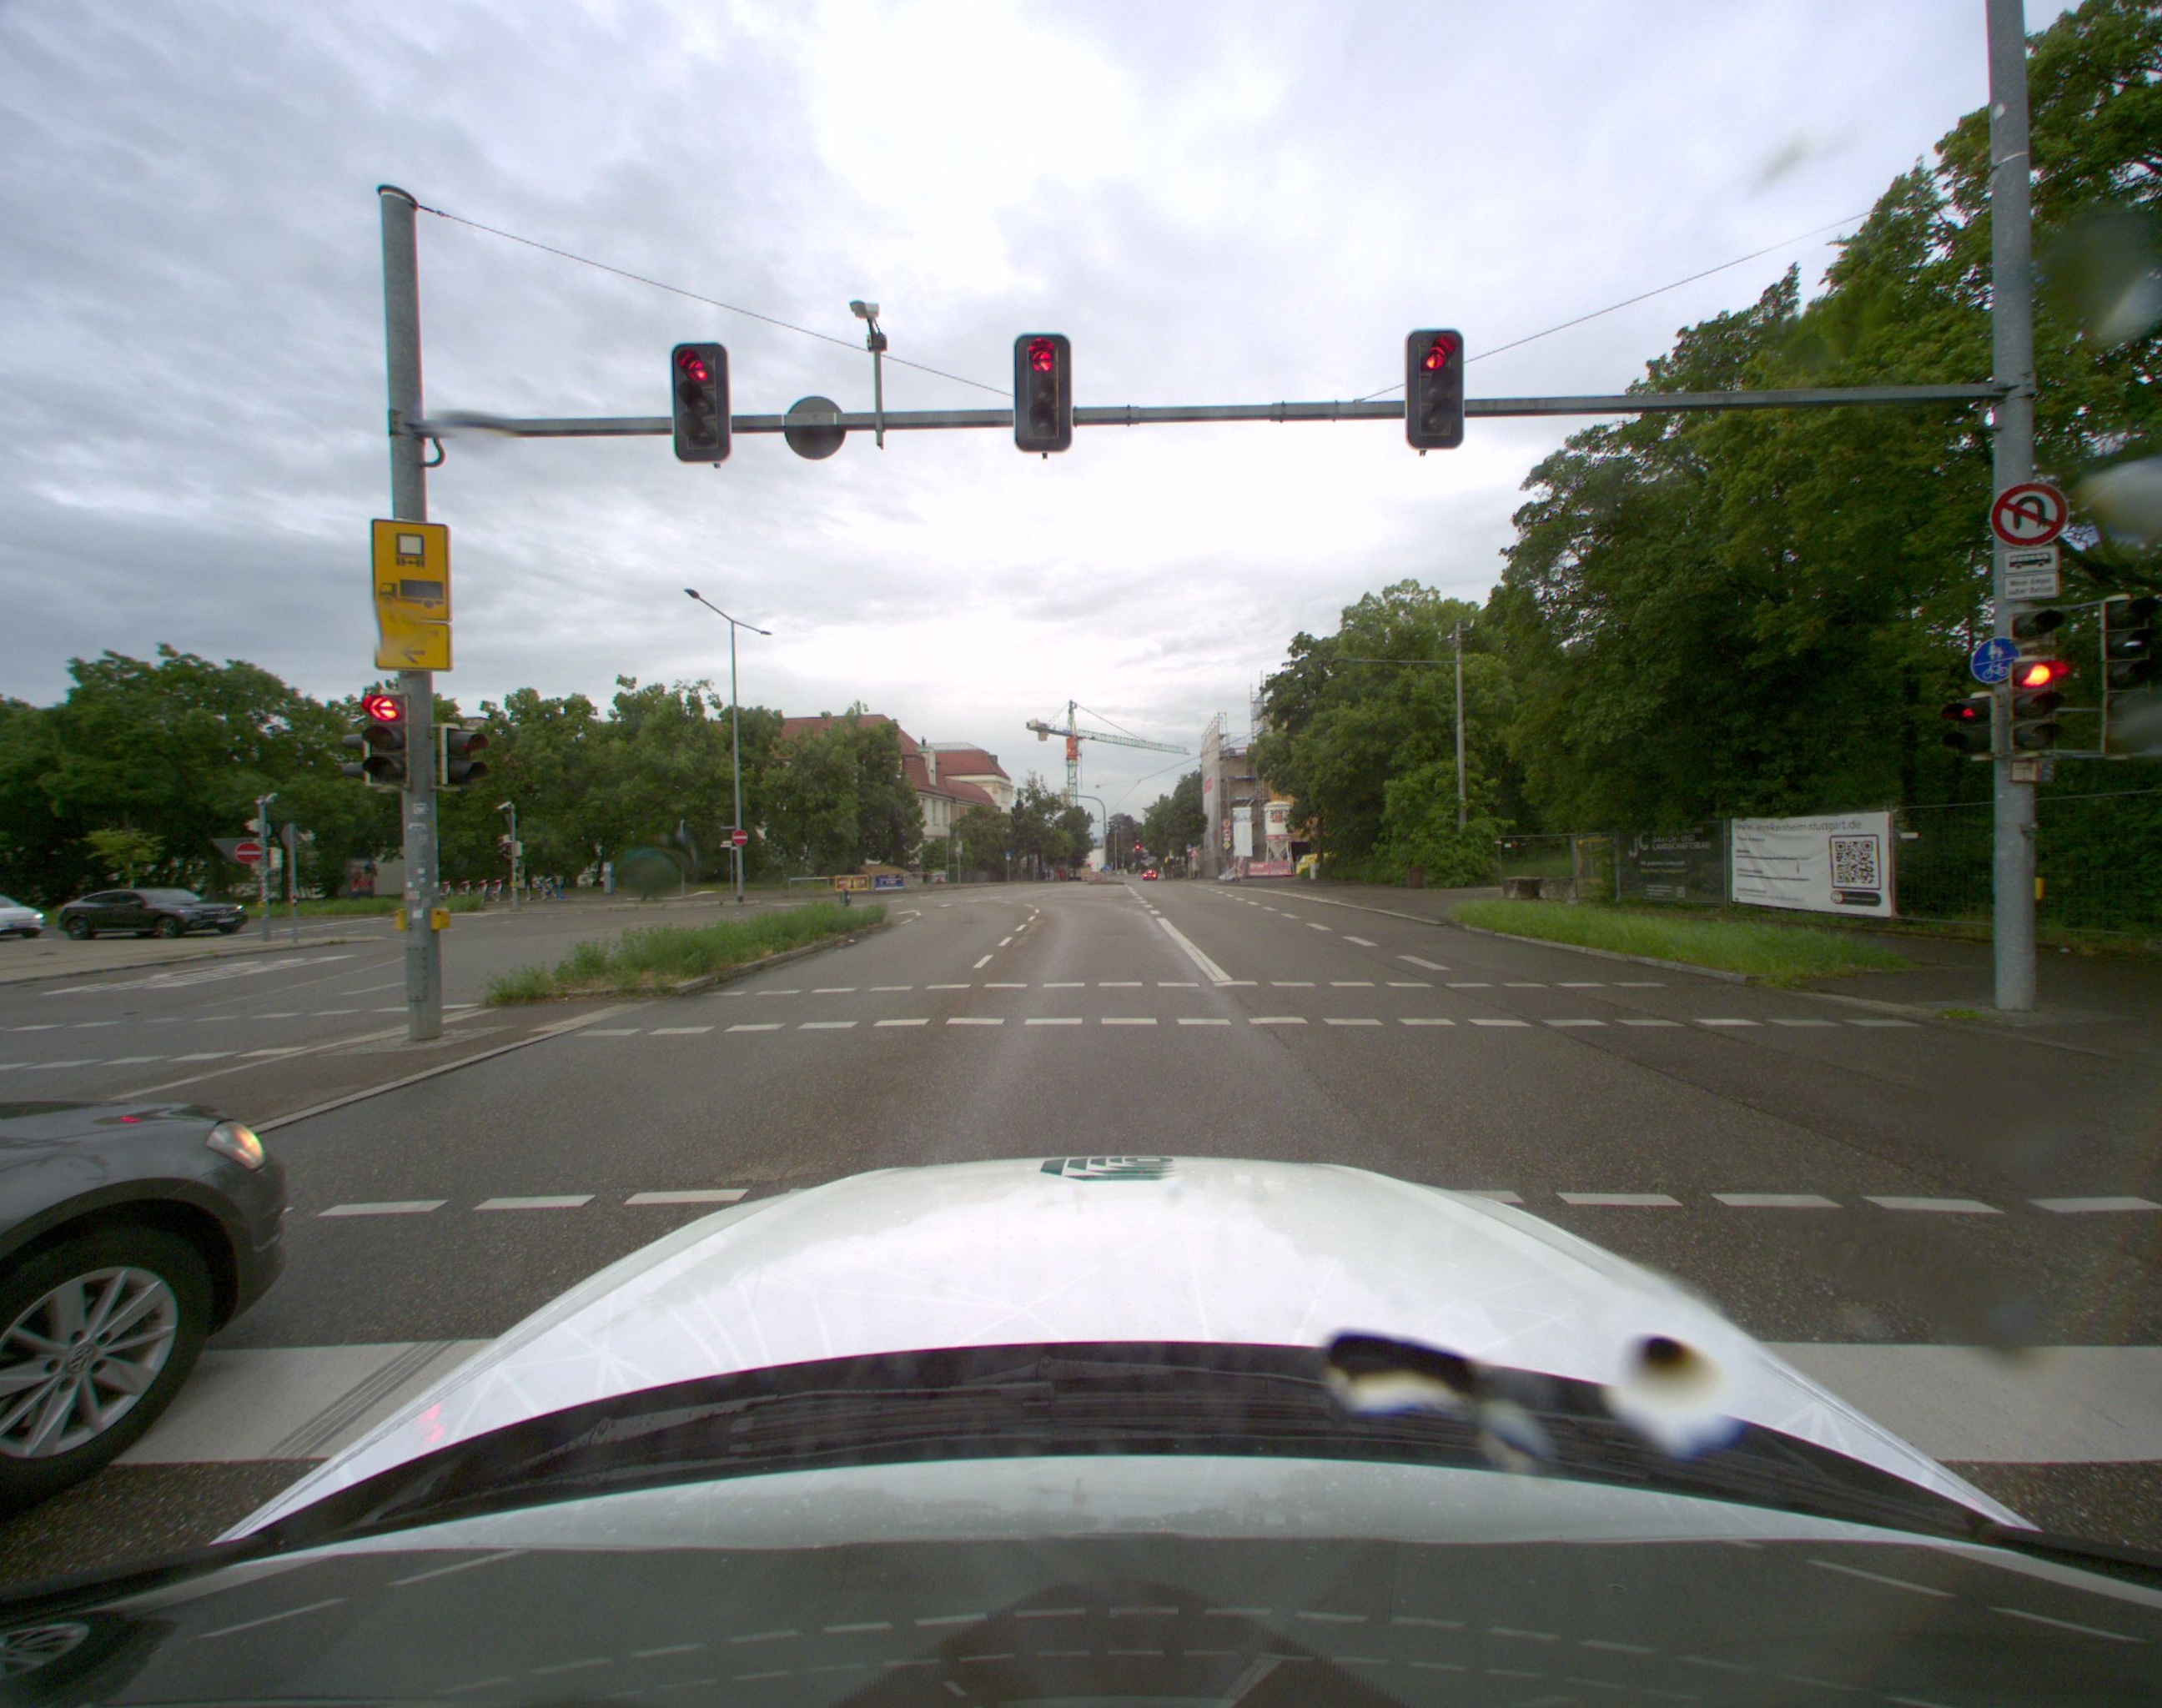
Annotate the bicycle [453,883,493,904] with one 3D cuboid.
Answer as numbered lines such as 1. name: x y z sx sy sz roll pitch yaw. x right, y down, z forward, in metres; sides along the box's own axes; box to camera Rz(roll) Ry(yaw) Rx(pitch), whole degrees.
1. bicycle: -33.018 2.117 44.269 0.649 1.071 1.982 0 -1 2

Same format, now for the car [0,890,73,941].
1. car: -36.495 2.036 27.044 3.539 1.594 2.001 0 -1 1

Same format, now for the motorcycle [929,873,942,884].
1. motorcycle: -11.569 1.931 64.979 0.846 0.877 0.877 0 -1 1

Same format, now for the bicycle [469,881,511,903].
1. bicycle: -32.269 2.065 44.501 0.798 1.071 1.982 0 -1 2

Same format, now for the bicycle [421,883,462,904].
1. bicycle: -34.987 2.141 44.575 0.649 1.071 1.982 0 -1 2

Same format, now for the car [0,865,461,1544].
1. car: -3.329 0.800 0.896 1.809 1.481 4.378 -2 0 2

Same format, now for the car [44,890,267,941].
1. car: -30.074 1.984 26.580 5.006 1.500 2.001 0 -1 1

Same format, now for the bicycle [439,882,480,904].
1. bicycle: -33.908 2.113 44.444 0.649 1.071 1.982 0 -1 2

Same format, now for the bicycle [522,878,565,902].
1. bicycle: -29.436 1.945 44.609 0.987 1.249 1.982 0 -1 2

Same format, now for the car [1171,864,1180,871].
1. car: 25.452 3.494 218.947 1.980 1.750 4.014 -2 0 13

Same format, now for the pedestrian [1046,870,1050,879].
1. pedestrian: -4.846 3.003 118.937 0.473 1.396 0.411 -2 -1 1

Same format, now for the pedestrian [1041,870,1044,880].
1. pedestrian: -5.631 3.047 119.078 0.473 1.396 0.411 -2 -1 1

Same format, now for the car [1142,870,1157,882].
1. car: 10.462 3.362 124.726 1.986 1.750 4.001 -2 0 1

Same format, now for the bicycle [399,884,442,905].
1. bicycle: -35.964 2.176 44.360 0.649 1.071 1.982 0 -1 2

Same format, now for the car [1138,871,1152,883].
1. car: 10.174 3.649 130.038 1.986 1.750 4.001 -2 0 1

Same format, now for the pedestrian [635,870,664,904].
1. pedestrian: -22.114 1.678 41.705 0.917 1.727 0.948 -1 -1 9
